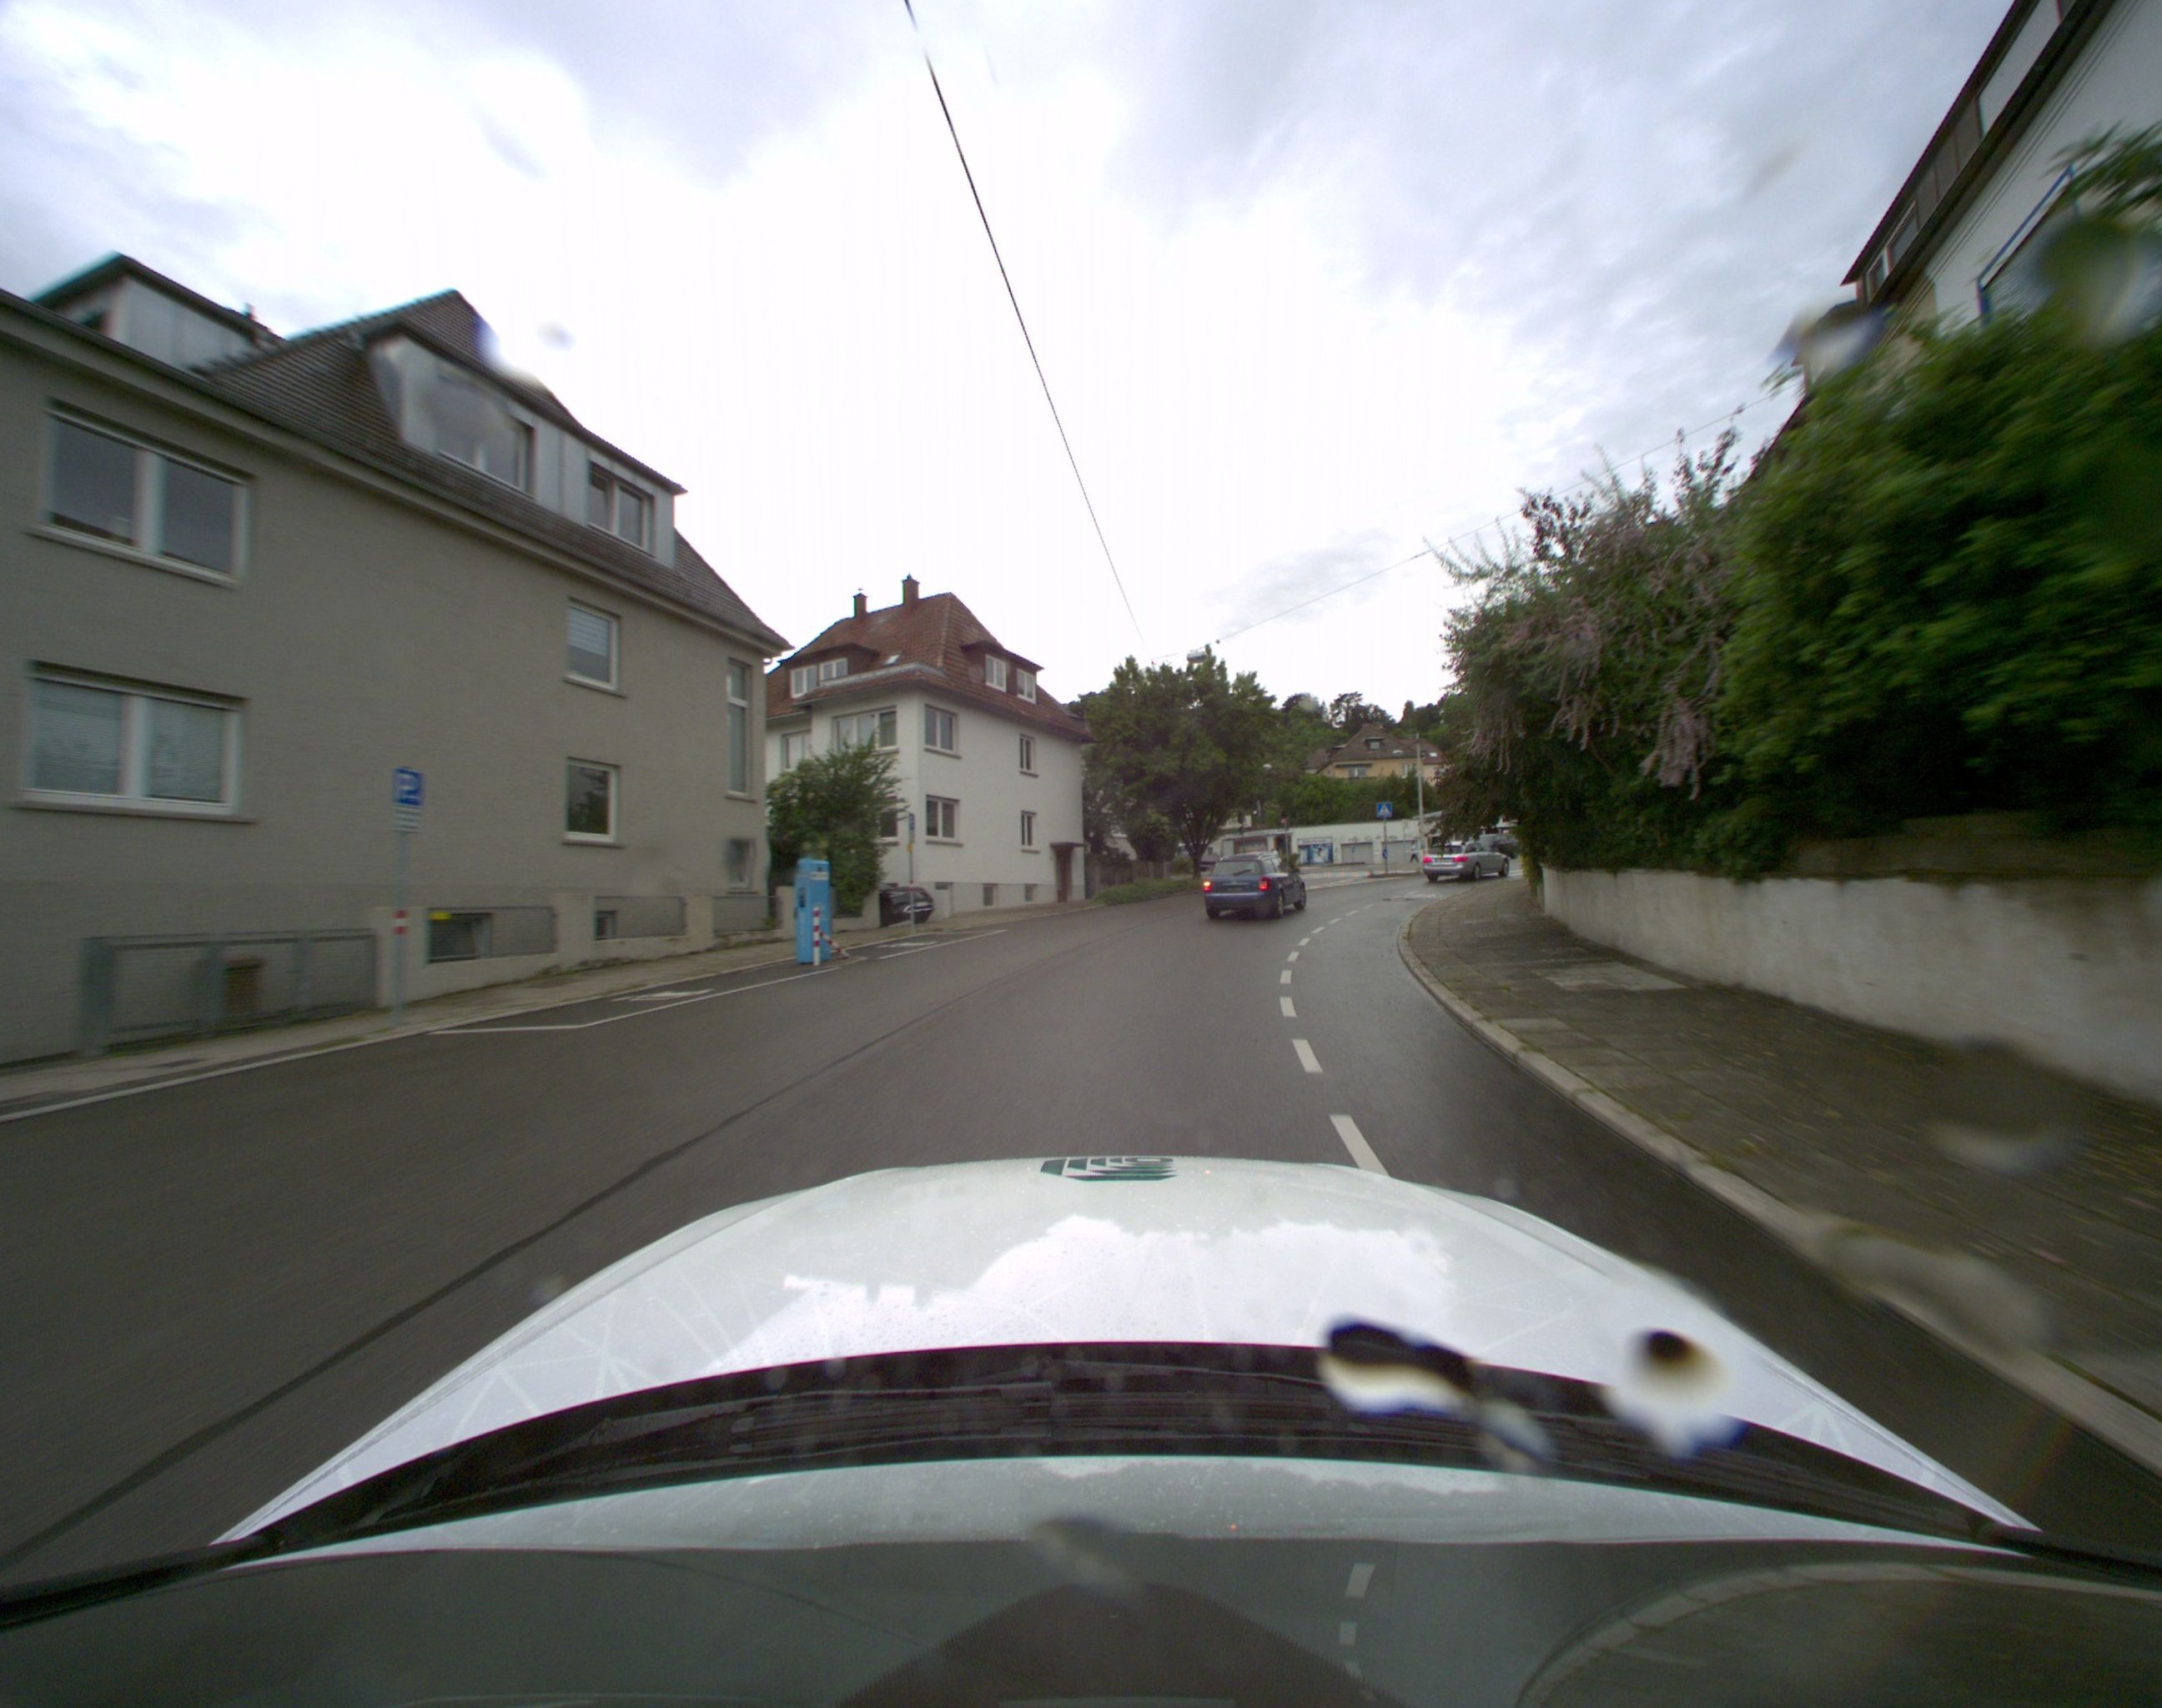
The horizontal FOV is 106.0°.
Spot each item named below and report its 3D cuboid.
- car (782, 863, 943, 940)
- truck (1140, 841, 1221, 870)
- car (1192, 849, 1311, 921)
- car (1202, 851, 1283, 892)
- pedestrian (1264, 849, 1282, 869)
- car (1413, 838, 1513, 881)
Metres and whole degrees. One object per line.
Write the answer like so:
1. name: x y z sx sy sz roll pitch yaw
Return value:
1. car: -6.492 1.404 24.145 4.200 1.623 2.012 -10 -5 28
2. truck: 8.259 0.147 68.249 2.327 2.269 6.727 -1 0 -43
3. car: 4.246 0.664 19.786 1.794 1.439 4.106 -1 1 27
4. car: 6.148 0.623 30.631 1.472 1.423 3.881 -1 0 36
5. pedestrian: 15.172 0.391 64.402 0.895 1.505 0.967 -3 1 -39
6. car: 14.314 0.177 30.409 4.021 1.360 1.796 -3 1 -40
